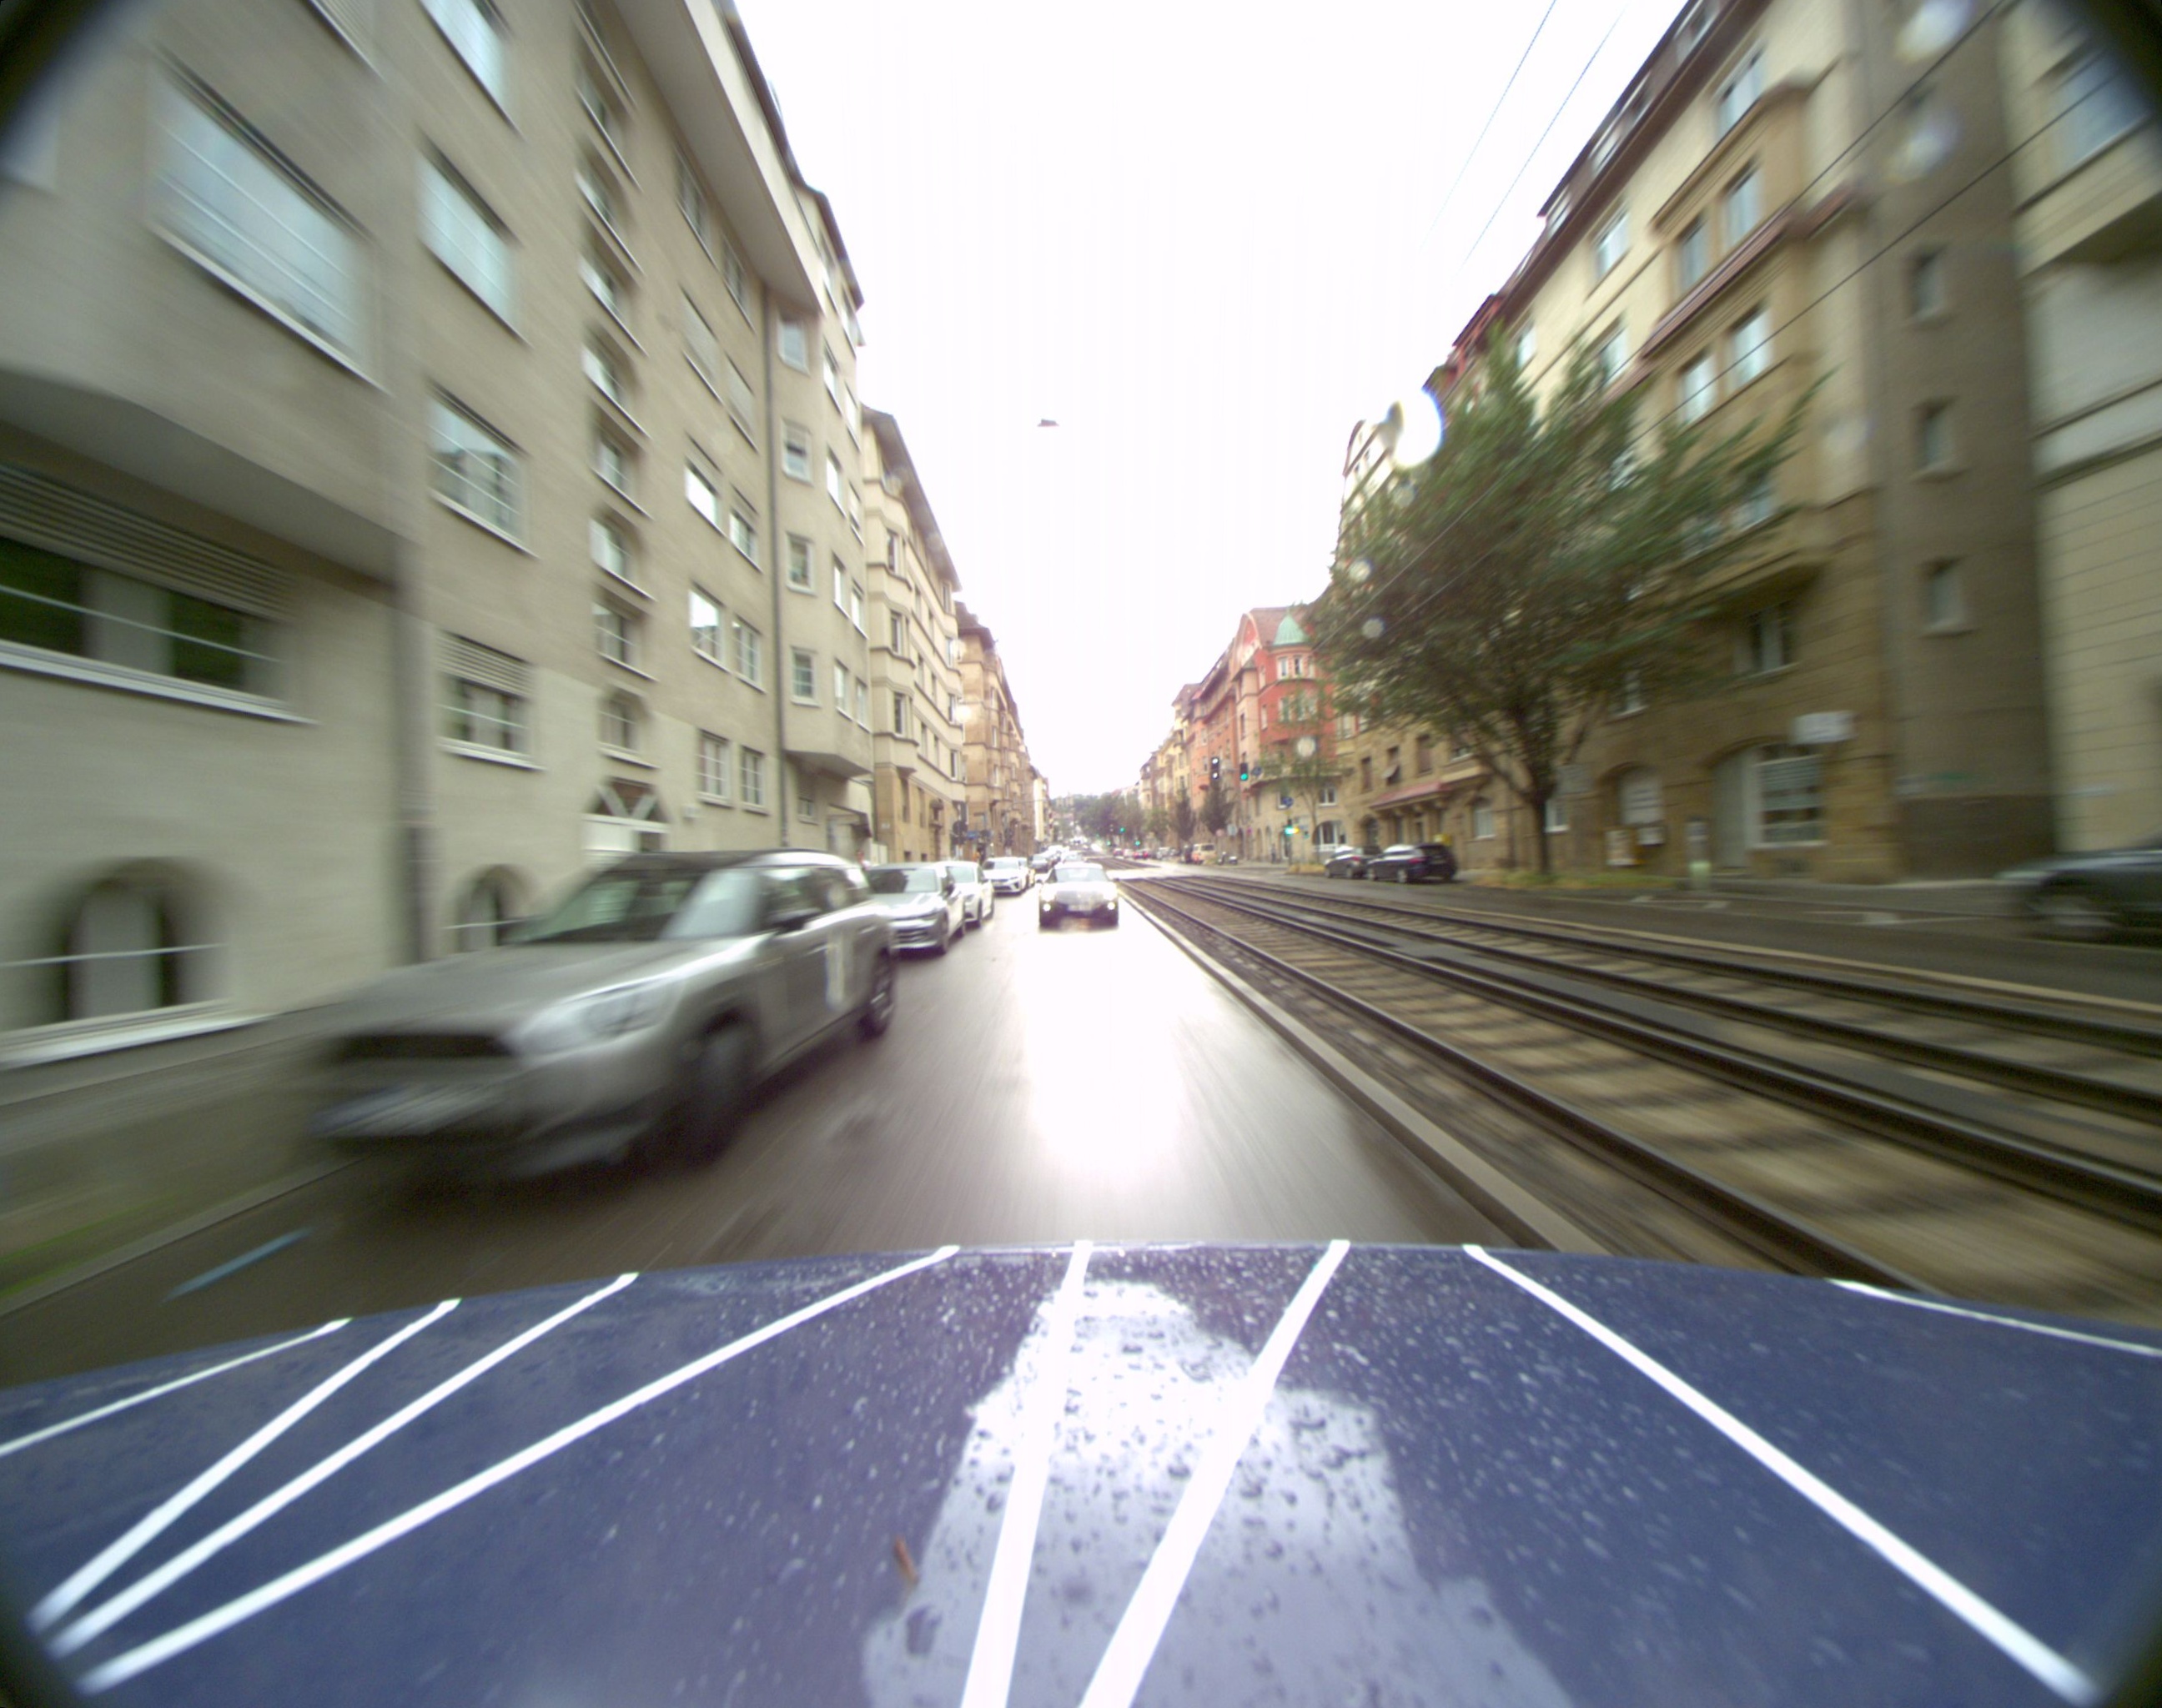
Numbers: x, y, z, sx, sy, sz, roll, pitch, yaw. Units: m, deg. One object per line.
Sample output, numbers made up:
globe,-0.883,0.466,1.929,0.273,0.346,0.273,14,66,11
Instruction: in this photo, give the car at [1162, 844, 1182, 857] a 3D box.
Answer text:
car,11.599,-0.419,97.195,1.760,1.482,4.596,-4,1,-2

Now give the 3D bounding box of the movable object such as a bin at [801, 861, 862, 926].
movable object such as a bin,-6.058,0.930,18.537,1.020,1.460,1.322,-2,1,-1

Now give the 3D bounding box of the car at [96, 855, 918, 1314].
car,-2.663,0.881,5.222,1.845,1.599,4.760,-2,1,2

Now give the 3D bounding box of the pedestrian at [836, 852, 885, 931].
pedestrian,-4.822,0.801,16.685,0.806,1.678,0.754,-2,2,-1

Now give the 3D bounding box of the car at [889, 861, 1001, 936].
car,-3.027,0.934,17.816,1.794,1.378,4.393,-2,1,0

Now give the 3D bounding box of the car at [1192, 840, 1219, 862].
car,11.923,-0.329,72.930,1.733,1.919,4.474,-2,1,-1

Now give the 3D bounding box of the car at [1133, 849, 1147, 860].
car,8.490,0.055,109.942,1.657,1.454,3.734,-1,1,0

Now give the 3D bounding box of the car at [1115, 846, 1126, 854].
car,8.138,-0.906,157.213,1.926,1.608,4.127,-2,1,-2

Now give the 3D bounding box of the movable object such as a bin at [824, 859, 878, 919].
movable object such as a bin,-6.038,0.900,20.033,0.982,1.460,1.272,-2,2,-1

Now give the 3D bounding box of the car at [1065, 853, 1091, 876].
car,-0.193,0.739,54.221,1.794,1.459,4.257,-2,1,0

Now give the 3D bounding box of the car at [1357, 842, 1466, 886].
car,12.217,0.290,28.508,1.785,1.451,4.976,-2,1,-2

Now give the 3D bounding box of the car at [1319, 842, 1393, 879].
car,12.244,0.248,34.064,1.694,1.520,4.174,-2,1,-2

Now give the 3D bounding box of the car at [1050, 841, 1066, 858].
car,-3.610,-0.726,121.641,1.991,2.520,6.154,-3,1,2

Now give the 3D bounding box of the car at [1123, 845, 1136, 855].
car,8.057,-0.721,127.568,1.785,1.494,4.061,-2,1,-2

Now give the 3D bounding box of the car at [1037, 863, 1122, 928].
car,-0.021,0.878,17.736,1.737,1.262,4.257,0,0,0

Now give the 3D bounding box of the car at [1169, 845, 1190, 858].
car,11.905,-0.321,92.187,1.760,1.396,3.693,-4,1,-3

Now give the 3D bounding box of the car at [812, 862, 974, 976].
car,-3.014,0.954,13.146,1.837,1.459,4.373,-2,1,-2

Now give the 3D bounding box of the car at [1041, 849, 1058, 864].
car,-3.562,0.238,85.818,1.774,1.592,3.999,-1,1,-2

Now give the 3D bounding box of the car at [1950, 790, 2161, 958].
car,12.438,0.160,7.553,1.958,1.732,4.778,-5,0,-2

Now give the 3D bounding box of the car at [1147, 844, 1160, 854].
car,11.595,-0.805,121.442,1.717,1.474,3.712,-5,1,1

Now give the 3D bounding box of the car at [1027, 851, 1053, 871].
car,-3.407,0.538,63.492,1.872,1.540,3.990,-3,1,0

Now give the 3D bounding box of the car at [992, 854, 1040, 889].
car,-3.018,0.788,36.242,1.715,1.402,4.816,-2,1,2

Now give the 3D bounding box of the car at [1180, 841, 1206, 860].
car,11.770,-0.385,79.991,1.911,1.919,4.831,-2,1,-1

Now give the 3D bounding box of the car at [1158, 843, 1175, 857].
car,11.554,-0.611,102.929,1.760,1.663,4.258,-5,1,-1

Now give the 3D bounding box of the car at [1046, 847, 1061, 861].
car,-3.604,-0.024,100.667,1.811,1.759,3.961,-2,1,0

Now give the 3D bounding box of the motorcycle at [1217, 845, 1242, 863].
motorcycle,12.144,0.007,62.135,1.779,1.367,0.769,-1,2,32

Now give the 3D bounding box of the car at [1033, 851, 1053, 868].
car,-3.471,0.502,69.354,1.710,1.445,3.531,-3,1,-2

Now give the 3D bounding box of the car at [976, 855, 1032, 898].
car,-3.052,0.854,30.876,1.716,1.459,4.772,-2,1,0

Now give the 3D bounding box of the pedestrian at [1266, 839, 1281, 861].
pedestrian,15.442,-0.348,60.985,0.718,1.710,0.892,-7,2,0
